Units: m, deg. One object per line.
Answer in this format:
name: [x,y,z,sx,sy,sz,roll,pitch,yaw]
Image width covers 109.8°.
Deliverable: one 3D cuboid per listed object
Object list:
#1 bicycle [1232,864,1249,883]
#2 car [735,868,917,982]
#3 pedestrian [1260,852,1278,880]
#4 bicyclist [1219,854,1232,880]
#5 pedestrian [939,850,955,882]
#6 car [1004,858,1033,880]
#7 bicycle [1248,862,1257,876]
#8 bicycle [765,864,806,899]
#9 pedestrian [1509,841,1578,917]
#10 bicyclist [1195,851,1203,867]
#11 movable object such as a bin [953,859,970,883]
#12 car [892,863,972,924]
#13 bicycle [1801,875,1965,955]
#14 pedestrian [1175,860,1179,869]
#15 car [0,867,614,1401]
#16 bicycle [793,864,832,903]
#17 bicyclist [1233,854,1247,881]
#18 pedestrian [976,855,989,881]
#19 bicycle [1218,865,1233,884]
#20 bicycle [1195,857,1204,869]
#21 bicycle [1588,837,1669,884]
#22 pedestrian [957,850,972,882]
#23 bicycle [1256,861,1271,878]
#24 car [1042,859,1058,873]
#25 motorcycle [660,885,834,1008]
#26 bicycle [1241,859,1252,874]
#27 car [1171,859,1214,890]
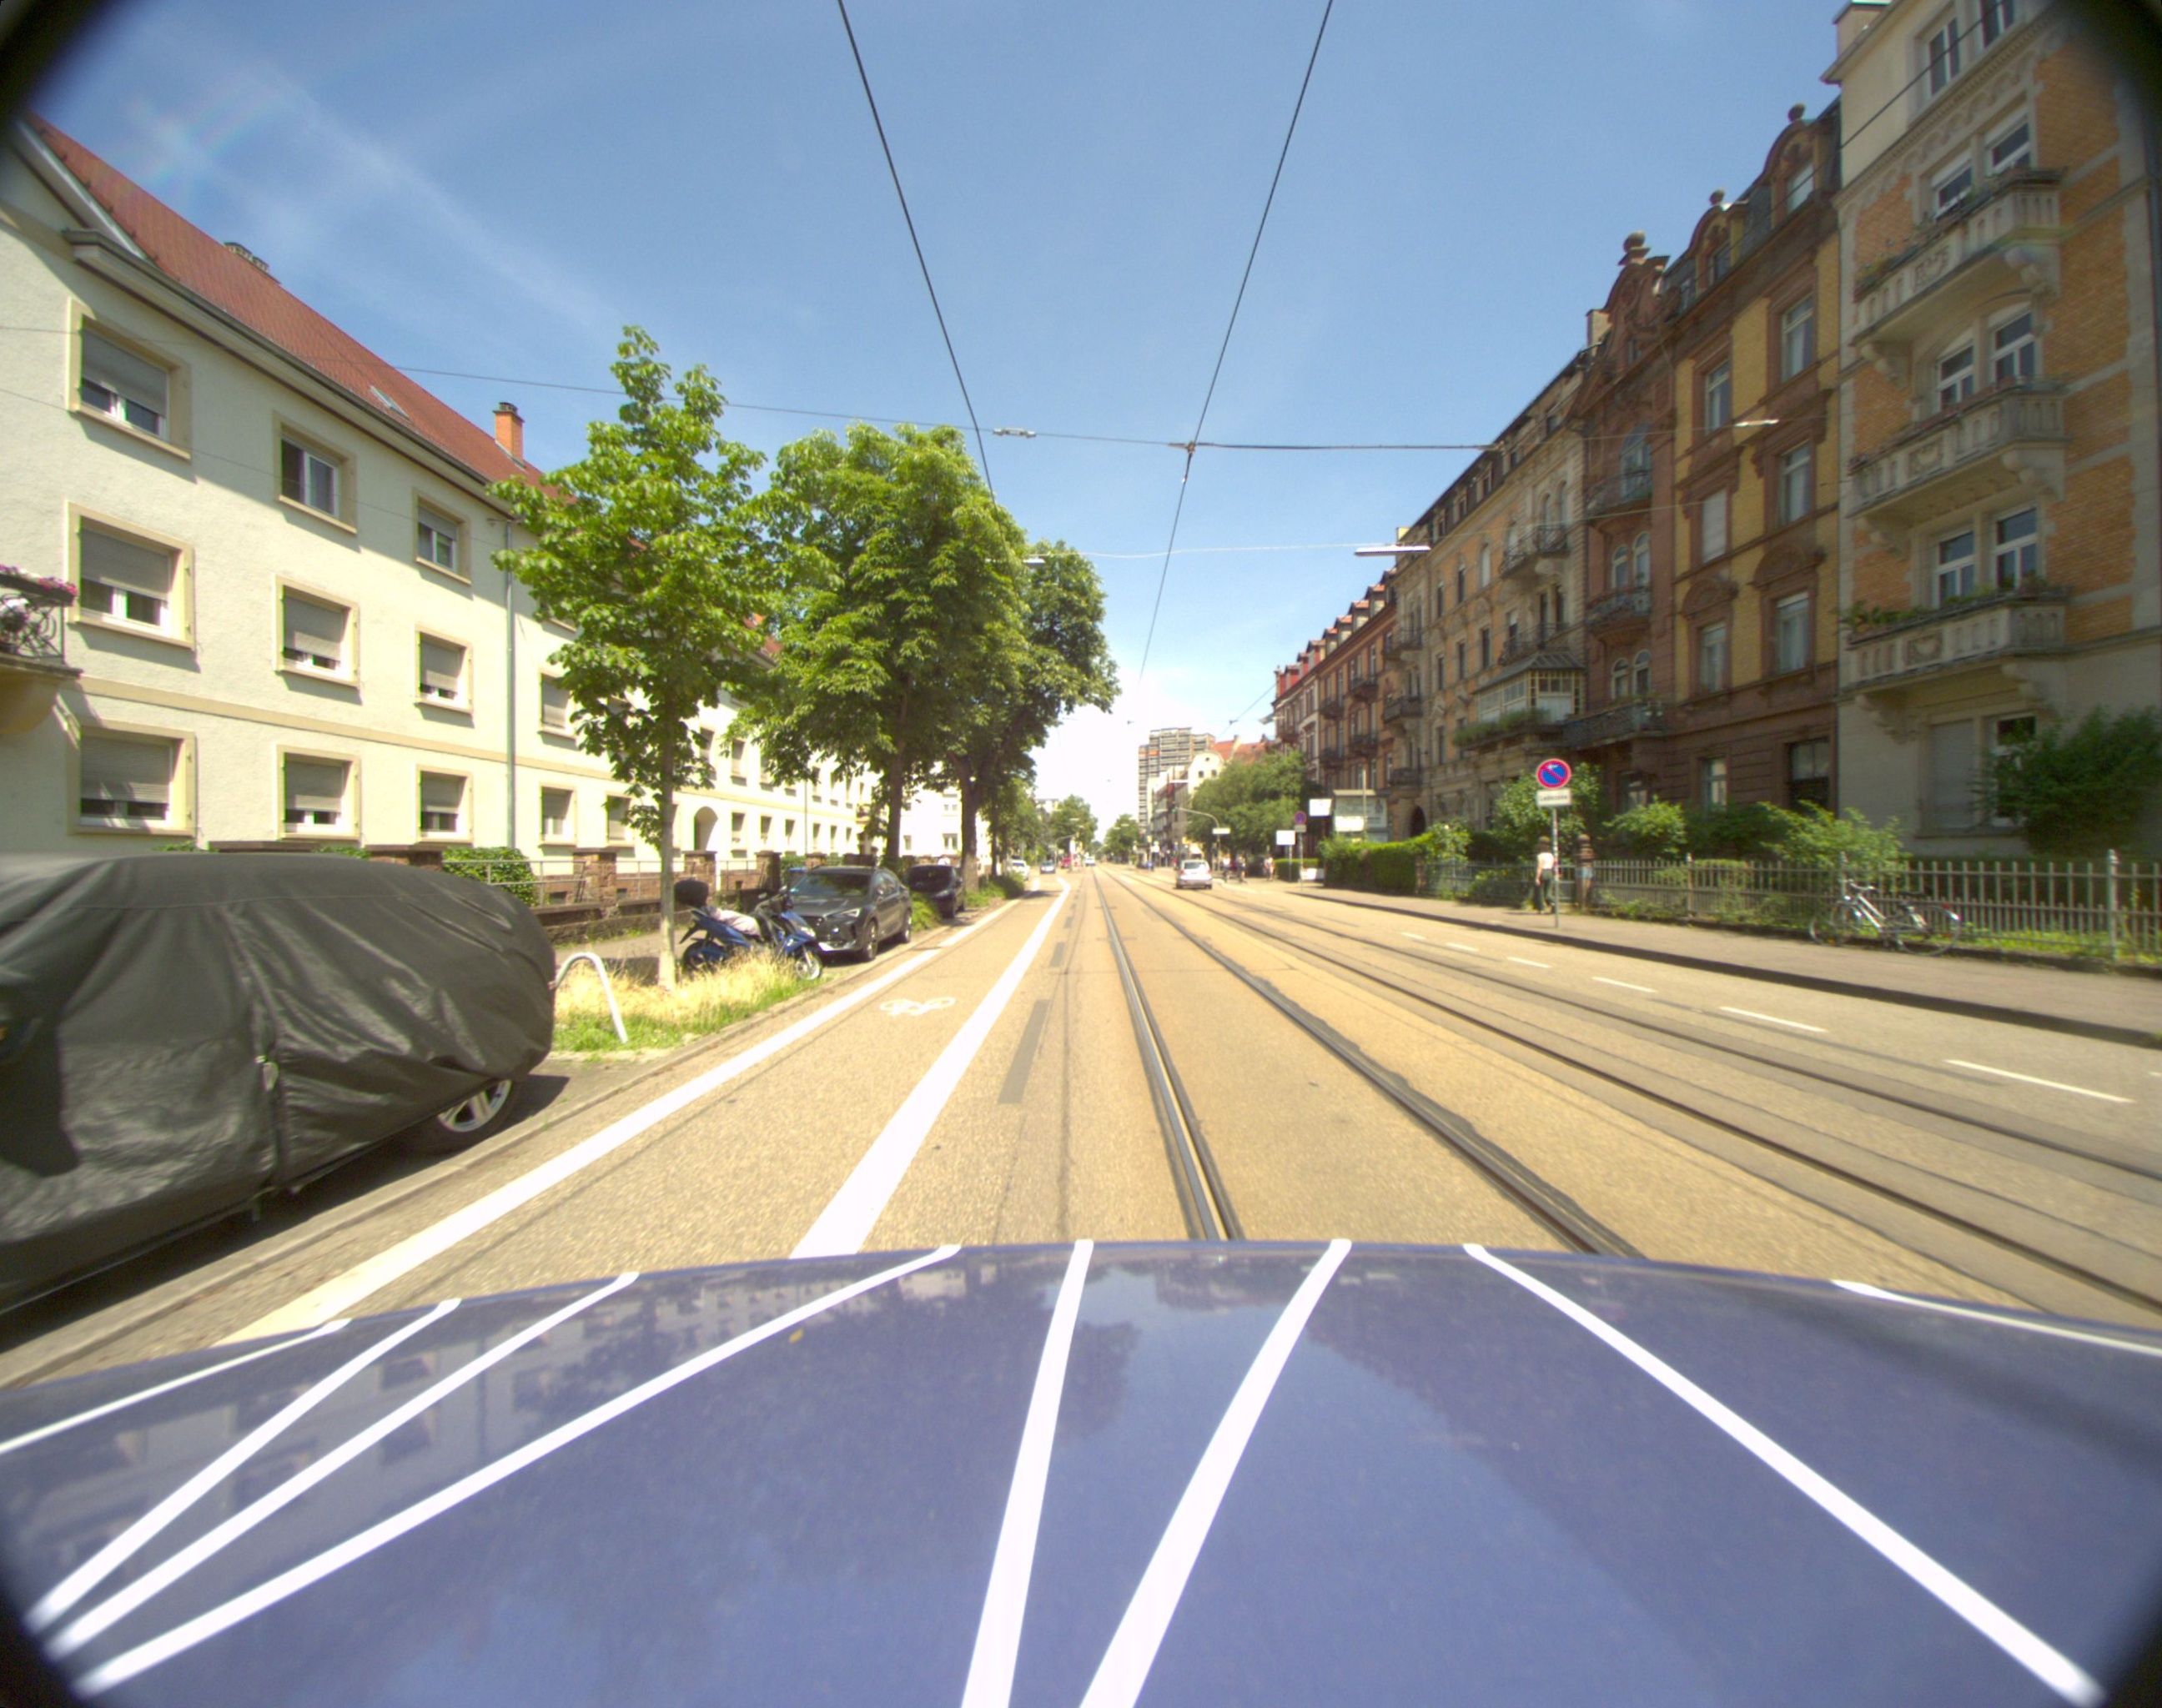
bicycle: [9.623,1.182,45.980,0.630,1.072,1.875,0,0,0]
car: [-4.213,1.077,13.351,1.737,1.543,4.453,-1,0,-1]
pedestrian: [11.584,0.737,46.814,0.874,1.690,1.013,-2,1,7]
bicyclist: [8.741,0.761,45.918,0.594,1.535,0.952,0,1,0]
pedestrian: [-7.229,0.646,40.866,0.699,1.660,0.756,1,1,0]
car: [-4.616,1.079,56.360,1.782,1.402,4.156,3,0,-1]
bicycle: [13.558,1.146,60.204,0.460,1.050,1.565,-2,1,4]
bicycle: [-10.315,0.947,26.583,0.598,1.119,1.970,2,1,2]
pedestrian: [11.095,0.578,18.267,0.853,1.713,1.138,-4,1,1]
bicyclist: [10.775,0.451,69.267,0.564,1.507,0.892,-1,1,1]
movable object such as a bin: [-6.305,0.890,40.216,0.699,1.179,1.036,1,1,0]
car: [-4.261,1.076,22.284,1.661,1.506,3.999,-2,0,-2]
bicycle: [11.602,0.841,11.079,0.498,0.981,1.710,-6,1,-1]
pedestrian: [17.032,1.866,135.163,0.537,1.433,0.520,-1,1,-9]
car: [-4.405,0.944,2.903,1.952,1.641,4.881,-1,0,4]
bicycle: [-8.973,0.956,25.465,0.598,1.202,1.969,1,0,1]
bicyclist: [9.621,0.802,45.928,0.635,1.575,1.028,0,1,0]
pedestrian: [-6.373,0.893,49.057,0.699,1.660,0.756,-2,1,-1]
bicycle: [8.740,1.229,45.942,0.582,1.072,1.890,0,0,0]
bicycle: [10.783,0.805,69.282,0.569,1.032,1.829,-1,1,1]
bicycle: [12.835,0.148,17.828,1.513,1.037,0.495,-1,1,2]
pedestrian: [-6.310,0.648,41.171,0.699,1.660,0.869,1,1,0]
bicycle: [12.648,1.057,52.608,0.639,1.087,1.931,-4,0,4]
car: [-3.555,1.370,87.290,1.737,1.543,4.423,-1,0,-1]
motorcycle: [-4.301,1.168,9.906,1.919,1.425,0.671,-2,1,-8]
bicycle: [13.559,0.985,62.356,0.574,1.162,1.716,-2,1,4]
car: [5.610,0.988,38.566,1.689,1.441,4.000,-1,0,1]
